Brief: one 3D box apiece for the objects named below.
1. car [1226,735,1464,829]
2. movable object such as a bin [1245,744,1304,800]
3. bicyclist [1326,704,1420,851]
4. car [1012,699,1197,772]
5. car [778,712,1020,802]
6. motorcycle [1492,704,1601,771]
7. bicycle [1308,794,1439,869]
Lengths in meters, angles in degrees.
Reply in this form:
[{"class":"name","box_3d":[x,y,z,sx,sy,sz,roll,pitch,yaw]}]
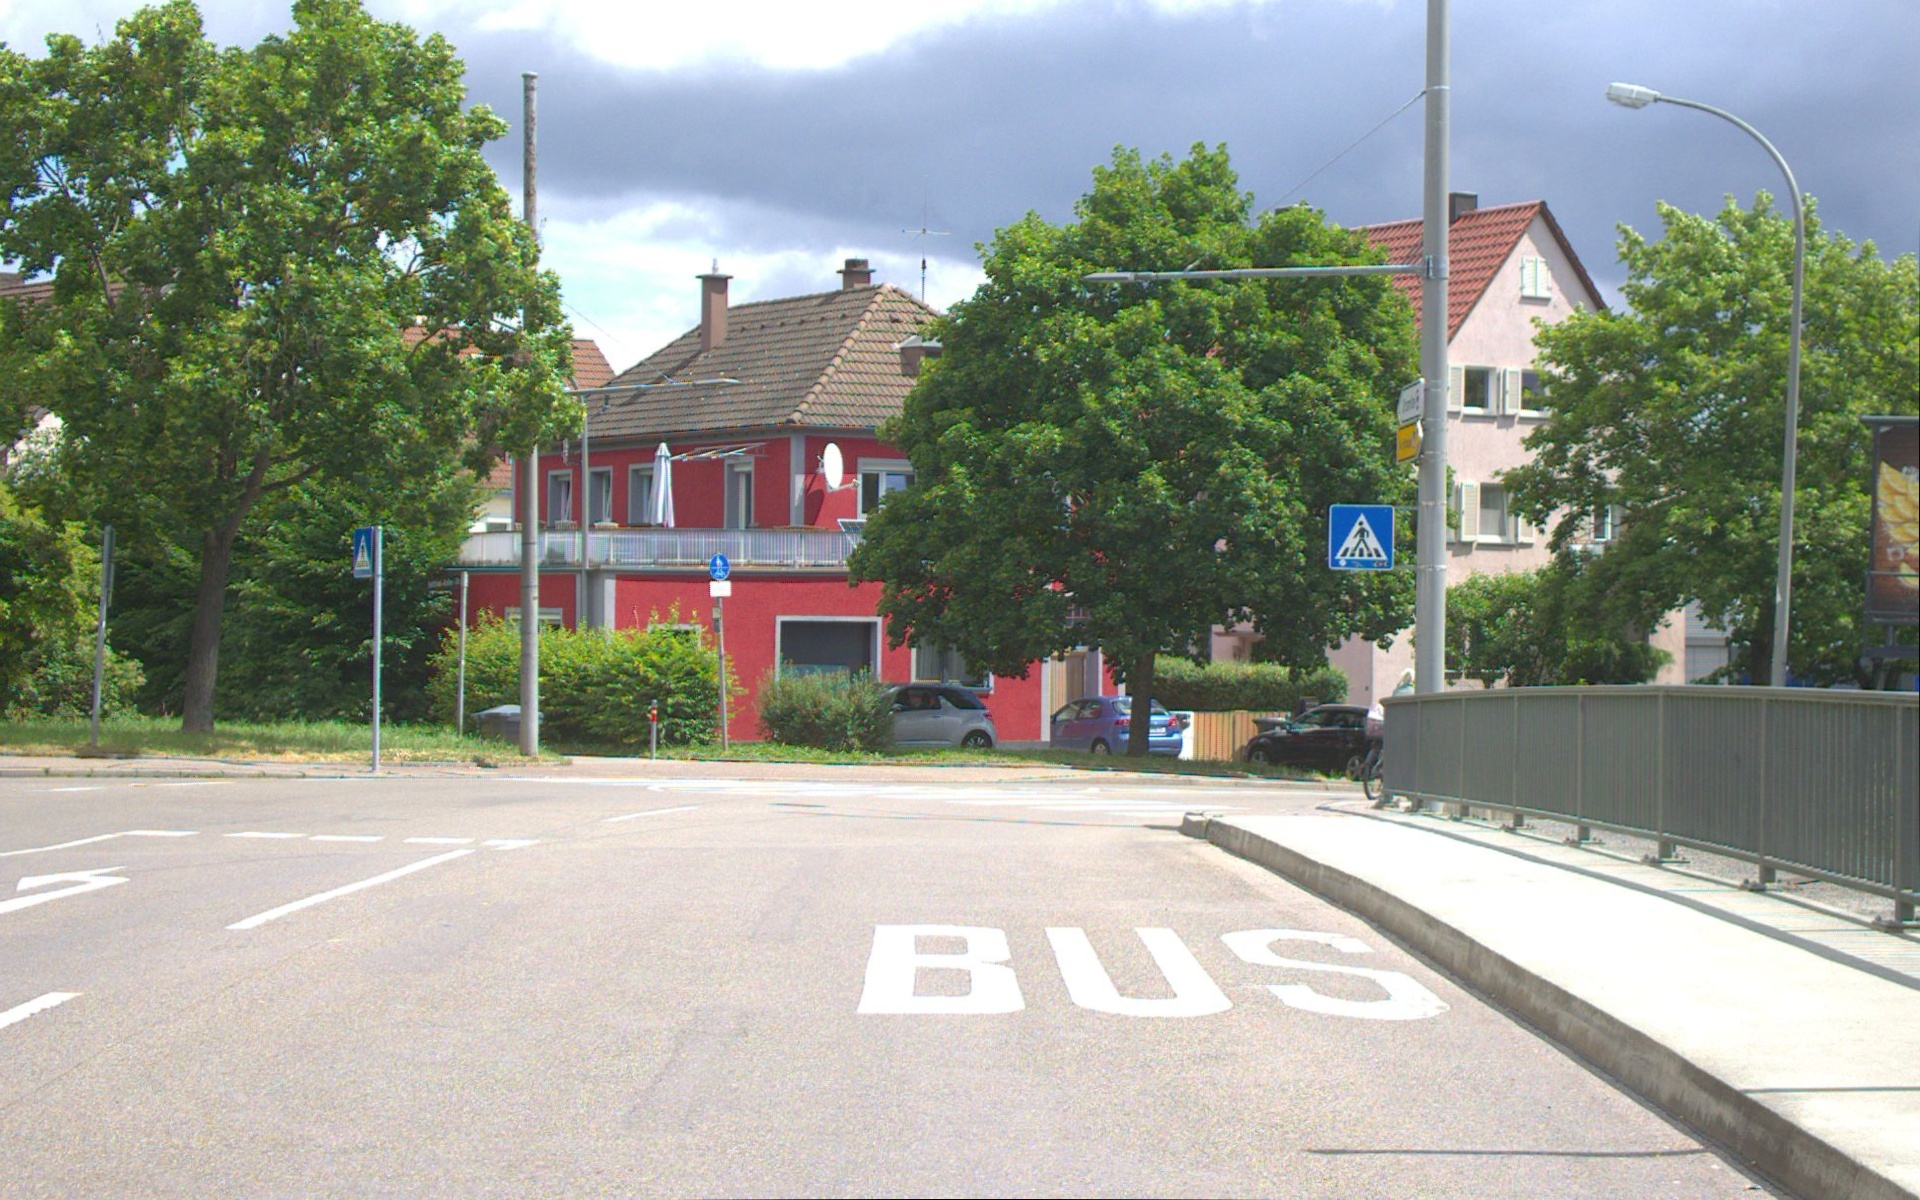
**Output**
[{"class":"car","box_3d":[6.789,3.213,60.987,1.993,1.389,4.144,4,-2,-32]},{"class":"movable object such as a bin","box_3d":[6.397,3.503,69.975,0.877,1.058,0.758,4,-2,-28]},{"class":"bicyclist","box_3d":[5.256,2.260,43.693,0.686,1.820,1.078,-1,-6,38]},{"class":"car","box_3d":[2.856,2.698,68.834,1.837,1.373,3.814,3,-3,-32]},{"class":"car","box_3d":[-1.087,2.849,62.327,4.064,1.421,1.645,4,-2,-33]},{"class":"motorcycle","box_3d":[12.666,2.966,74.190,2.228,1.311,0.920,5,-2,-34]},{"class":"bicycle","box_3d":[5.259,2.948,43.653,0.689,0.875,2.097,-1,-6,36]}]
